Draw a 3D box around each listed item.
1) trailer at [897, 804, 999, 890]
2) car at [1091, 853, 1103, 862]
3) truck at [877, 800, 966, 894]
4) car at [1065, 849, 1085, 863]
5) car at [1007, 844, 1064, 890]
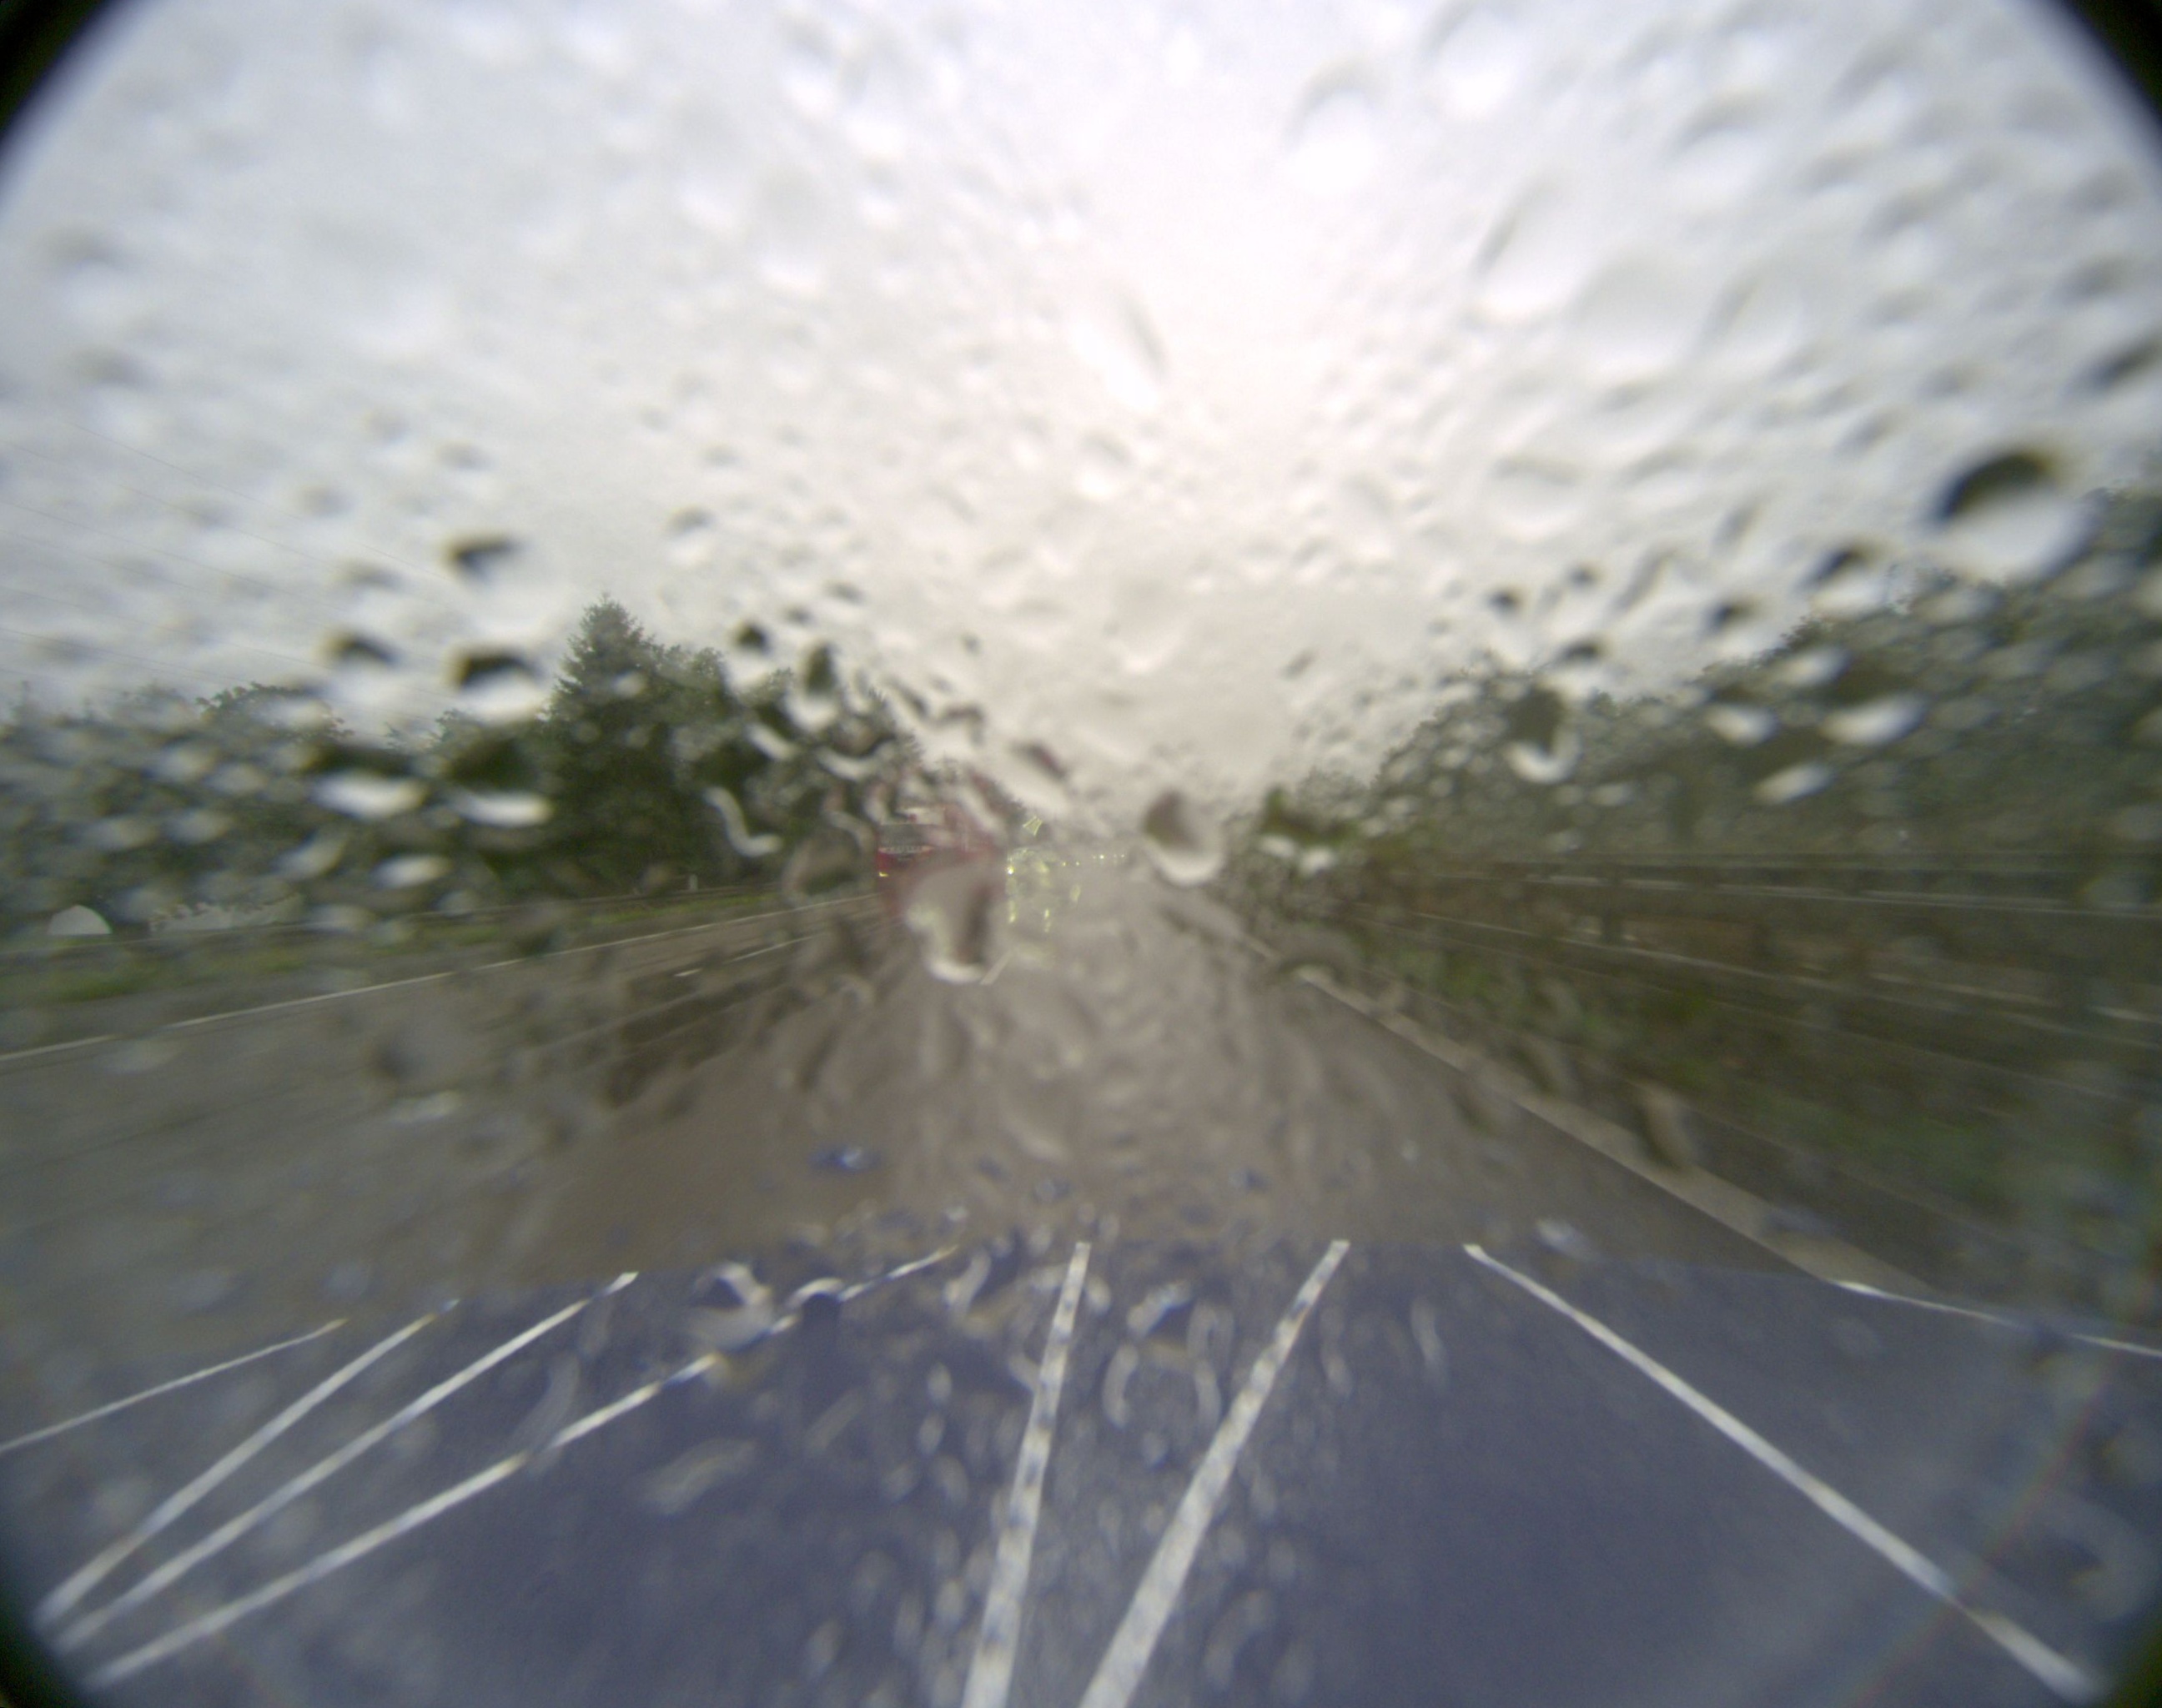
[{"bbox_3d":[-6.973,-0.404,42.479,2.626,3.932,13.630,-2,1,2],"label":"trailer"},{"bbox_3d":[3.149,0.679,148.430,1.768,1.448,3.961,-5,0,6],"label":"car"},{"bbox_3d":[-7.268,-0.335,35.298,2.626,3.932,5.433,-2,1,2],"label":"truck"},{"bbox_3d":[-0.647,0.217,83.812,1.769,1.448,3.960,-5,0,4],"label":"car"},{"bbox_3d":[-2.046,0.581,35.784,1.891,1.873,5.010,-5,0,4],"label":"car"}]
